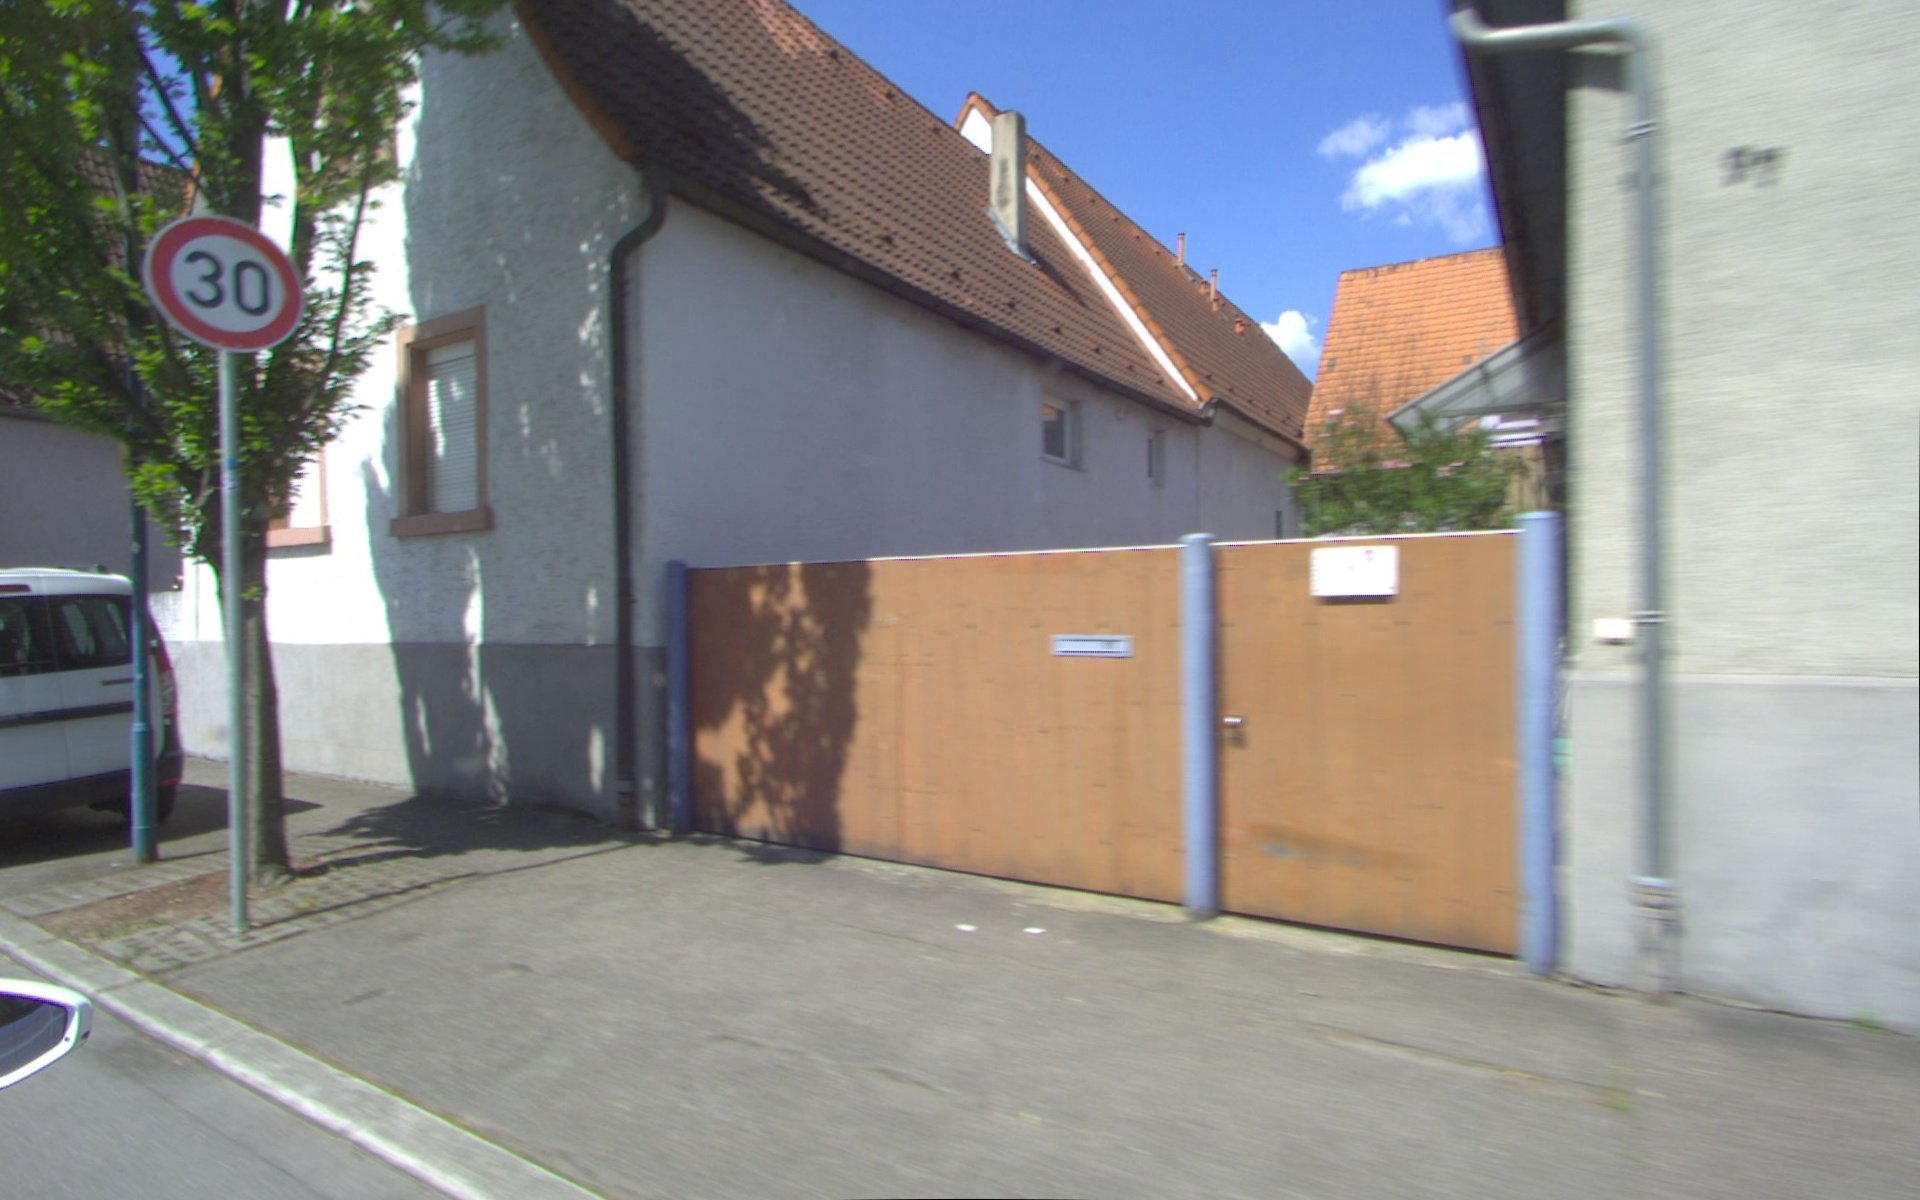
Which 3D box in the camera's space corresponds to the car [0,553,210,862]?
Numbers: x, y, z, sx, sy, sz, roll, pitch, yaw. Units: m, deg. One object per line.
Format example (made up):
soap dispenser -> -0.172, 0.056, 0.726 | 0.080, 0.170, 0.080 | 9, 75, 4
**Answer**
car -> -7.284, 0.652, 7.105 | 4.083, 1.814, 1.716 | -1, 1, 31
